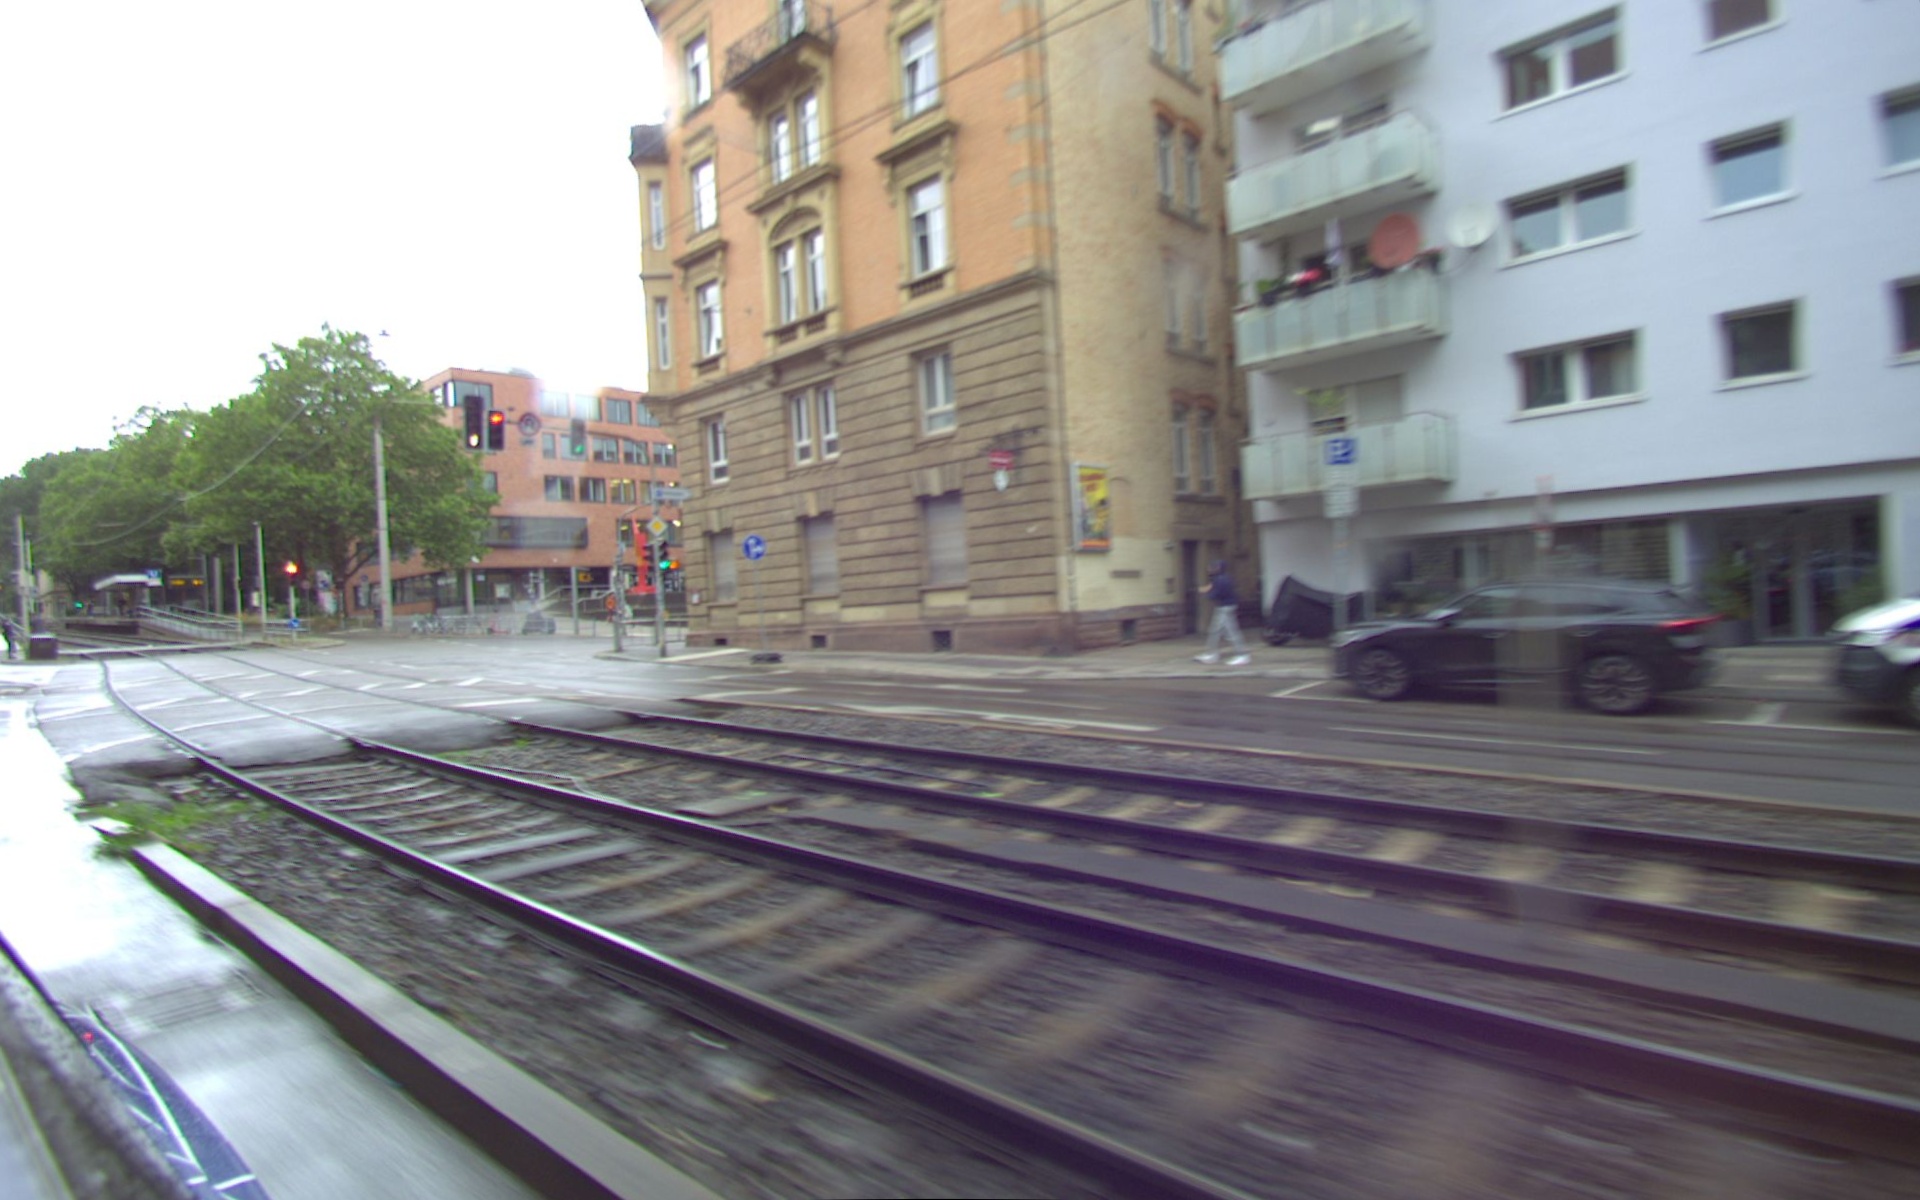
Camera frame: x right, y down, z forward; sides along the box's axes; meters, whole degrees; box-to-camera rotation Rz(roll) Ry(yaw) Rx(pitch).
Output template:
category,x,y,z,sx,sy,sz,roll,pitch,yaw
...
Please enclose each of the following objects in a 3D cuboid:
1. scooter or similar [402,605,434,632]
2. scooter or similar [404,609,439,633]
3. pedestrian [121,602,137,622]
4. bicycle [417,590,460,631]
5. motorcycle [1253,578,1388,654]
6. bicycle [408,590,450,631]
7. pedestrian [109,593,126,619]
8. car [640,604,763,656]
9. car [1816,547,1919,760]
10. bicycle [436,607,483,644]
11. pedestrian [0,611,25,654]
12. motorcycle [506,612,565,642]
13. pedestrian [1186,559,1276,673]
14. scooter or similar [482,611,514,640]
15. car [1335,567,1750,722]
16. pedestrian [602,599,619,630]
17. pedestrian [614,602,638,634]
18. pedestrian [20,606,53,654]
category,x,y,z,sx,sy,sz,roll,pitch,yaw
scooter or similar,-28.934,0.967,54.063,0.450,1.381,1.494,-1,1,25
scooter or similar,-28.478,1.086,53.557,0.475,1.203,1.706,-1,0,21
pedestrian,-62.193,0.894,75.759,0.883,1.494,0.772,-1,0,39
bicycle,-26.731,0.512,51.939,0.518,2.028,1.874,-1,2,36
motorcycle,7.087,0.302,19.964,2.309,1.386,0.919,-1,2,43
bicycle,-27.544,0.521,52.517,0.518,2.028,1.874,-1,2,36
pedestrian,-65.809,0.463,79.043,0.883,2.078,0.826,-1,0,39
car,-8.624,0.963,34.037,1.774,1.550,3.752,0,1,35
car,11.497,0.458,9.411,5.301,2.024,2.048,-1,3,43
bicycle,-25.073,1.262,50.724,0.556,1.710,2.072,1,3,36
pedestrian,-36.506,1.245,38.793,1.001,1.616,0.826,-1,0,41
motorcycle,-20.827,1.290,49.744,0.864,1.381,2.627,0,0,36
pedestrian,4.819,0.266,17.982,1.175,1.943,1.162,-1,1,35
scooter or similar,-22.882,1.255,50.147,0.450,1.381,1.494,-1,1,25
car,7.332,0.480,13.025,4.363,1.663,1.714,-1,1,42
pedestrian,-20.726,0.868,60.013,0.780,1.757,1.072,-1,4,-14
pedestrian,-18.866,1.005,57.176,1.009,1.743,0.886,-1,0,43
pedestrian,-35.866,1.154,39.321,1.001,1.812,0.817,-1,0,41
